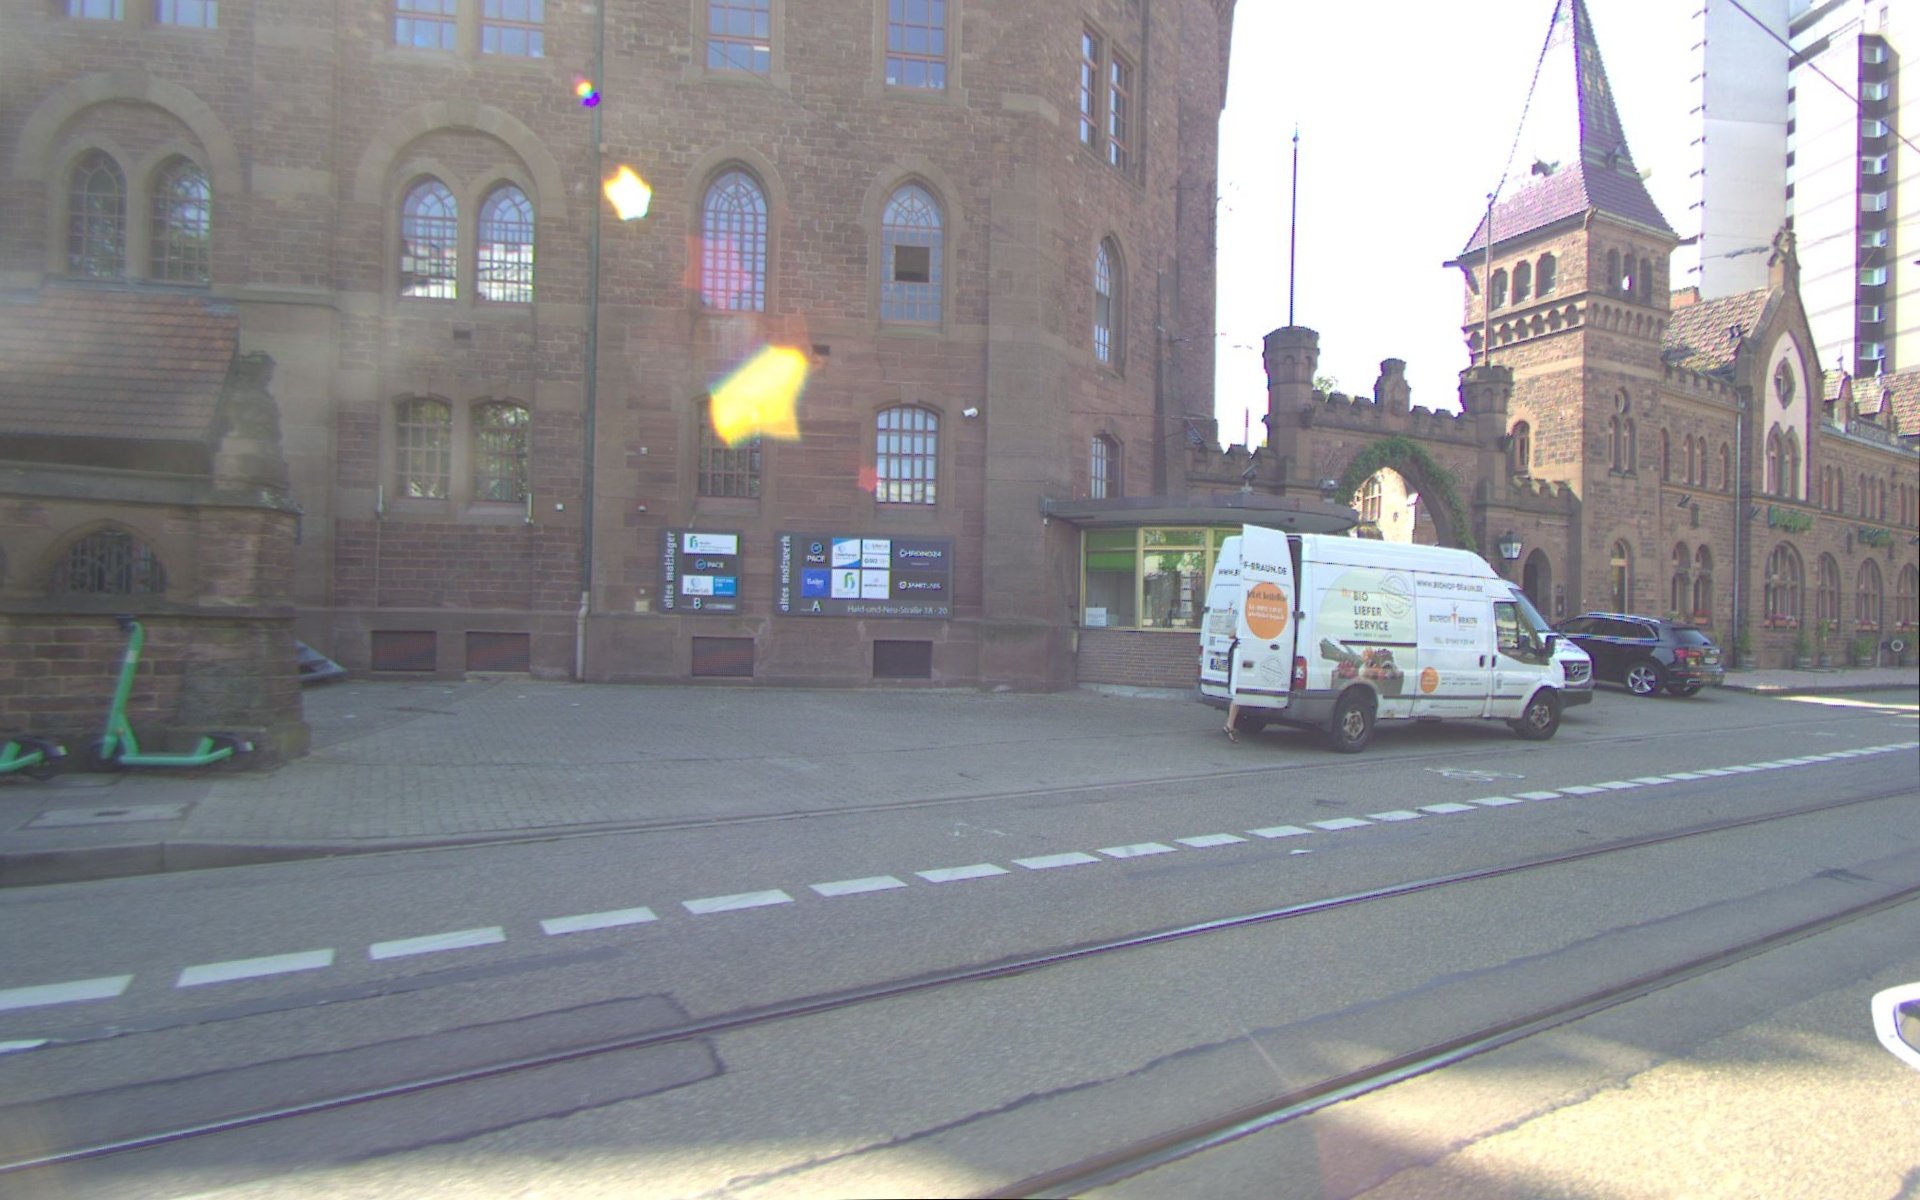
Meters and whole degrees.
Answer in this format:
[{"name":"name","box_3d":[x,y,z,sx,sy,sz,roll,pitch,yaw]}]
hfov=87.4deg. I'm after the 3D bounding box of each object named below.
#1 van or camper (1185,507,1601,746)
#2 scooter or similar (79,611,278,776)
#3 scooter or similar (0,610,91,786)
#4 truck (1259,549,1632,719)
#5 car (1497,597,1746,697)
[{"name":"van or camper","box_3d":[6.044,0.372,13.755,5.884,2.711,2.103,2,0,-30]},{"name":"scooter or similar","box_3d":[-5.879,0.700,7.585,1.156,1.194,0.340,2,0,-6]},{"name":"scooter or similar","box_3d":[-6.843,0.669,7.014,1.156,1.194,0.340,2,0,-6]},{"name":"truck","box_3d":[8.652,0.388,18.828,2.102,2.573,6.299,0,3,-25]},{"name":"car","box_3d":[14.562,0.965,22.363,1.976,1.767,4.116,2,2,-29]}]
